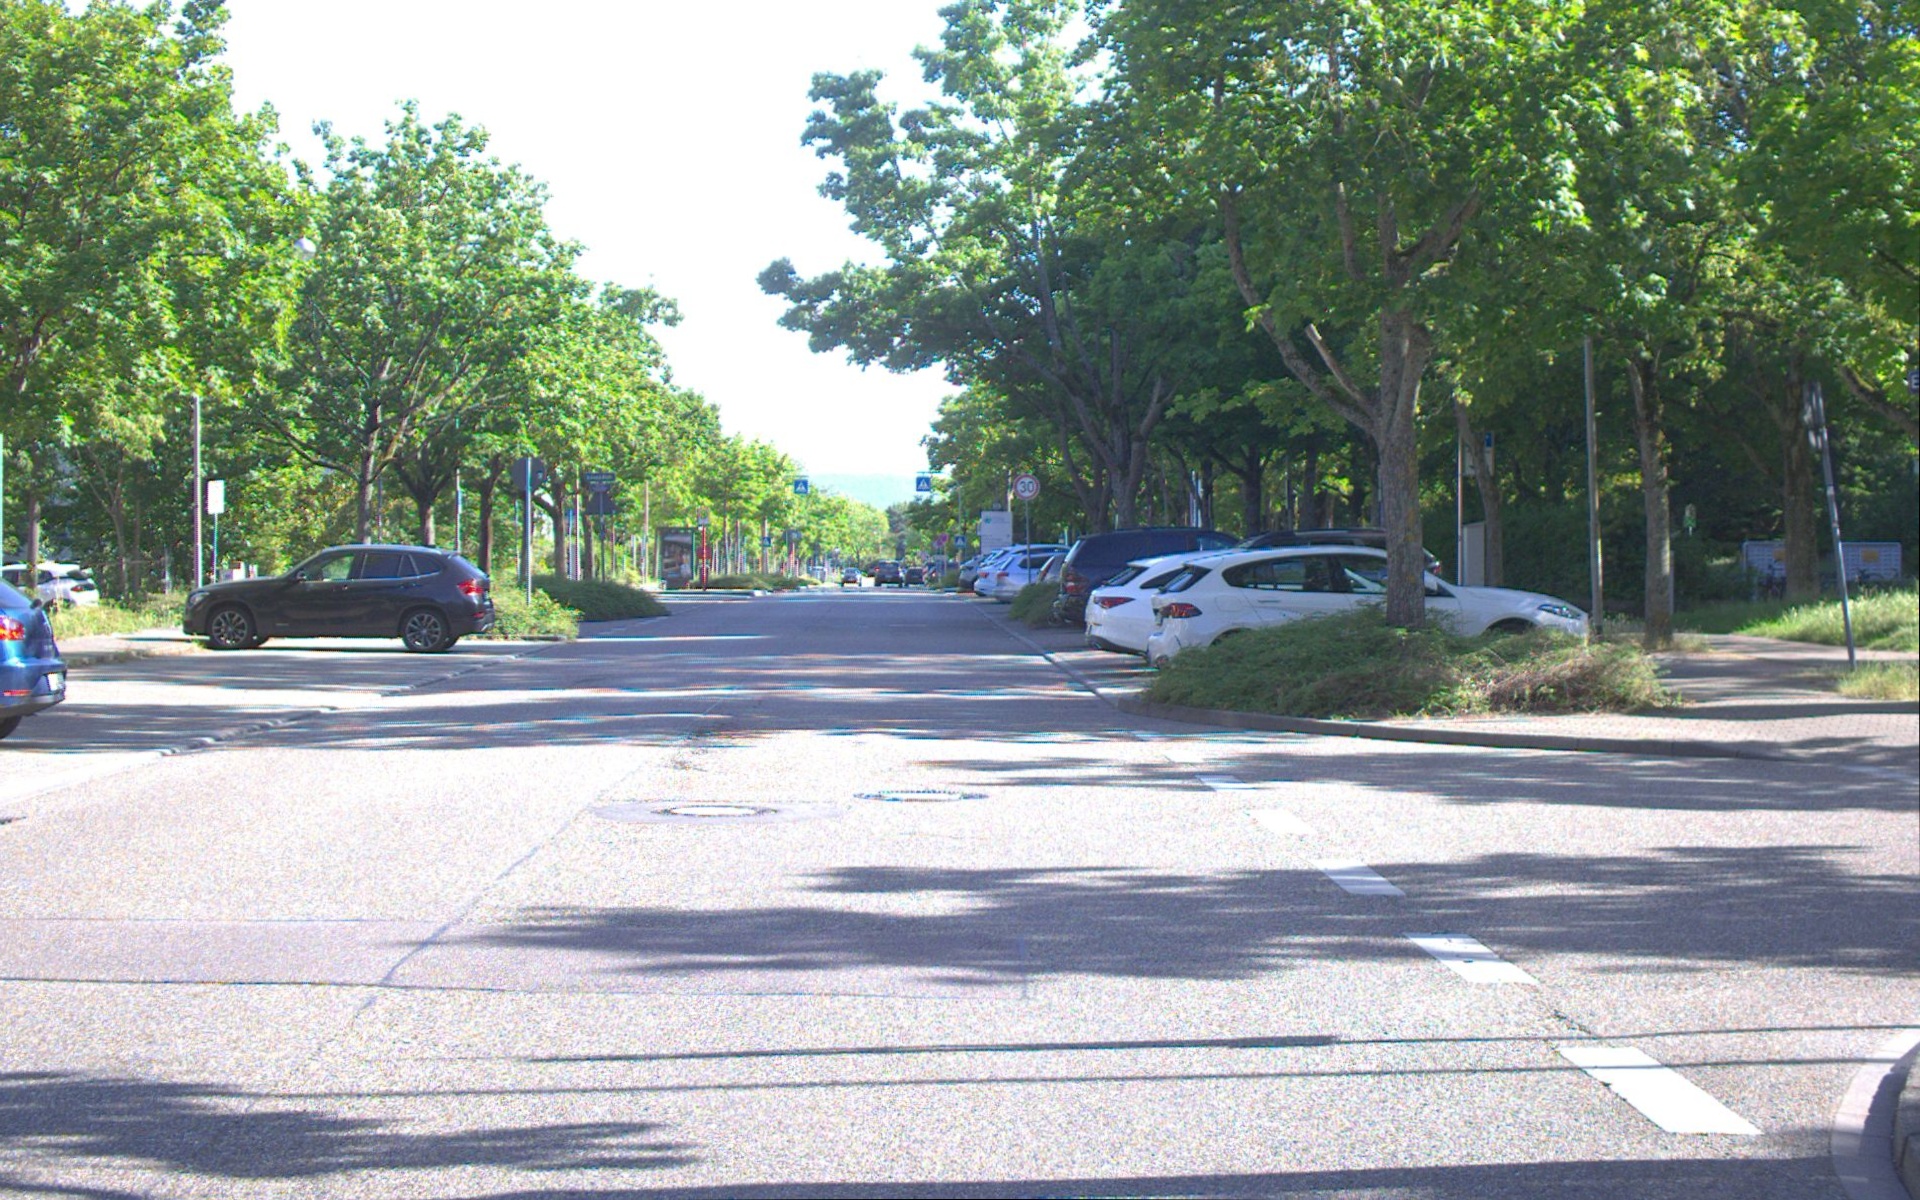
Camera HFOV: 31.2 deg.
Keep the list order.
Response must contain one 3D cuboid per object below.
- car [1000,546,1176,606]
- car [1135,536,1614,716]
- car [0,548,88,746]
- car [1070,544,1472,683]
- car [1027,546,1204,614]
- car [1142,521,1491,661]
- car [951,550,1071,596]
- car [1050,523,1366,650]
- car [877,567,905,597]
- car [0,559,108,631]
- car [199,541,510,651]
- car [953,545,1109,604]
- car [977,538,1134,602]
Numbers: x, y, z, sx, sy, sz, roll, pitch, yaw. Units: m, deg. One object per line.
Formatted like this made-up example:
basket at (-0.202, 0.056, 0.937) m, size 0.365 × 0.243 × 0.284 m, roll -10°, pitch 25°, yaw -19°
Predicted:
car at (3.184, -0.595, 84.872) m, size 4.275 × 1.423 × 1.827 m, roll 0°, pitch 0°, yaw 4°
car at (4.078, 0.240, 34.256) m, size 4.426 × 1.587 × 1.837 m, roll -2°, pitch 1°, yaw -3°
car at (-8.600, 0.302, 25.248) m, size 3.986 × 1.407 × 1.817 m, roll 1°, pitch 0°, yaw -4°
car at (3.600, 0.152, 40.306) m, size 4.441 × 1.540 × 1.818 m, roll 1°, pitch 0°, yaw -3°
car at (3.595, -0.468, 79.994) m, size 3.987 × 1.446 × 1.717 m, roll -2°, pitch 1°, yaw 0°
car at (4.464, -0.108, 43.442) m, size 4.117 × 1.612 × 1.734 m, roll -2°, pitch 0°, yaw -3°
car at (1.803, -0.962, 123.120) m, size 4.164 × 1.423 × 2.000 m, roll -3°, pitch 1°, yaw -1°
car at (3.727, -0.212, 52.229) m, size 4.586 × 1.773 × 2.000 m, roll -2°, pitch 1°, yaw -1°
car at (-4.930, -1.324, 246.353) m, size 1.993 × 2.006 × 4.001 m, roll 1°, pitch 2°, yaw -1°
car at (-20.410, -0.081, 73.232) m, size 4.077 × 1.446 × 1.625 m, roll -2°, pitch 0°, yaw 1°
car at (-8.746, -0.067, 49.872) m, size 4.192 × 1.515 × 1.772 m, roll 1°, pitch 0°, yaw 0°
car at (2.019, -0.733, 98.753) m, size 4.342 × 1.484 × 1.738 m, roll -2°, pitch 1°, yaw -2°
car at (2.800, -0.891, 101.461) m, size 4.434 × 1.642 × 1.816 m, roll -3°, pitch 1°, yaw -2°
